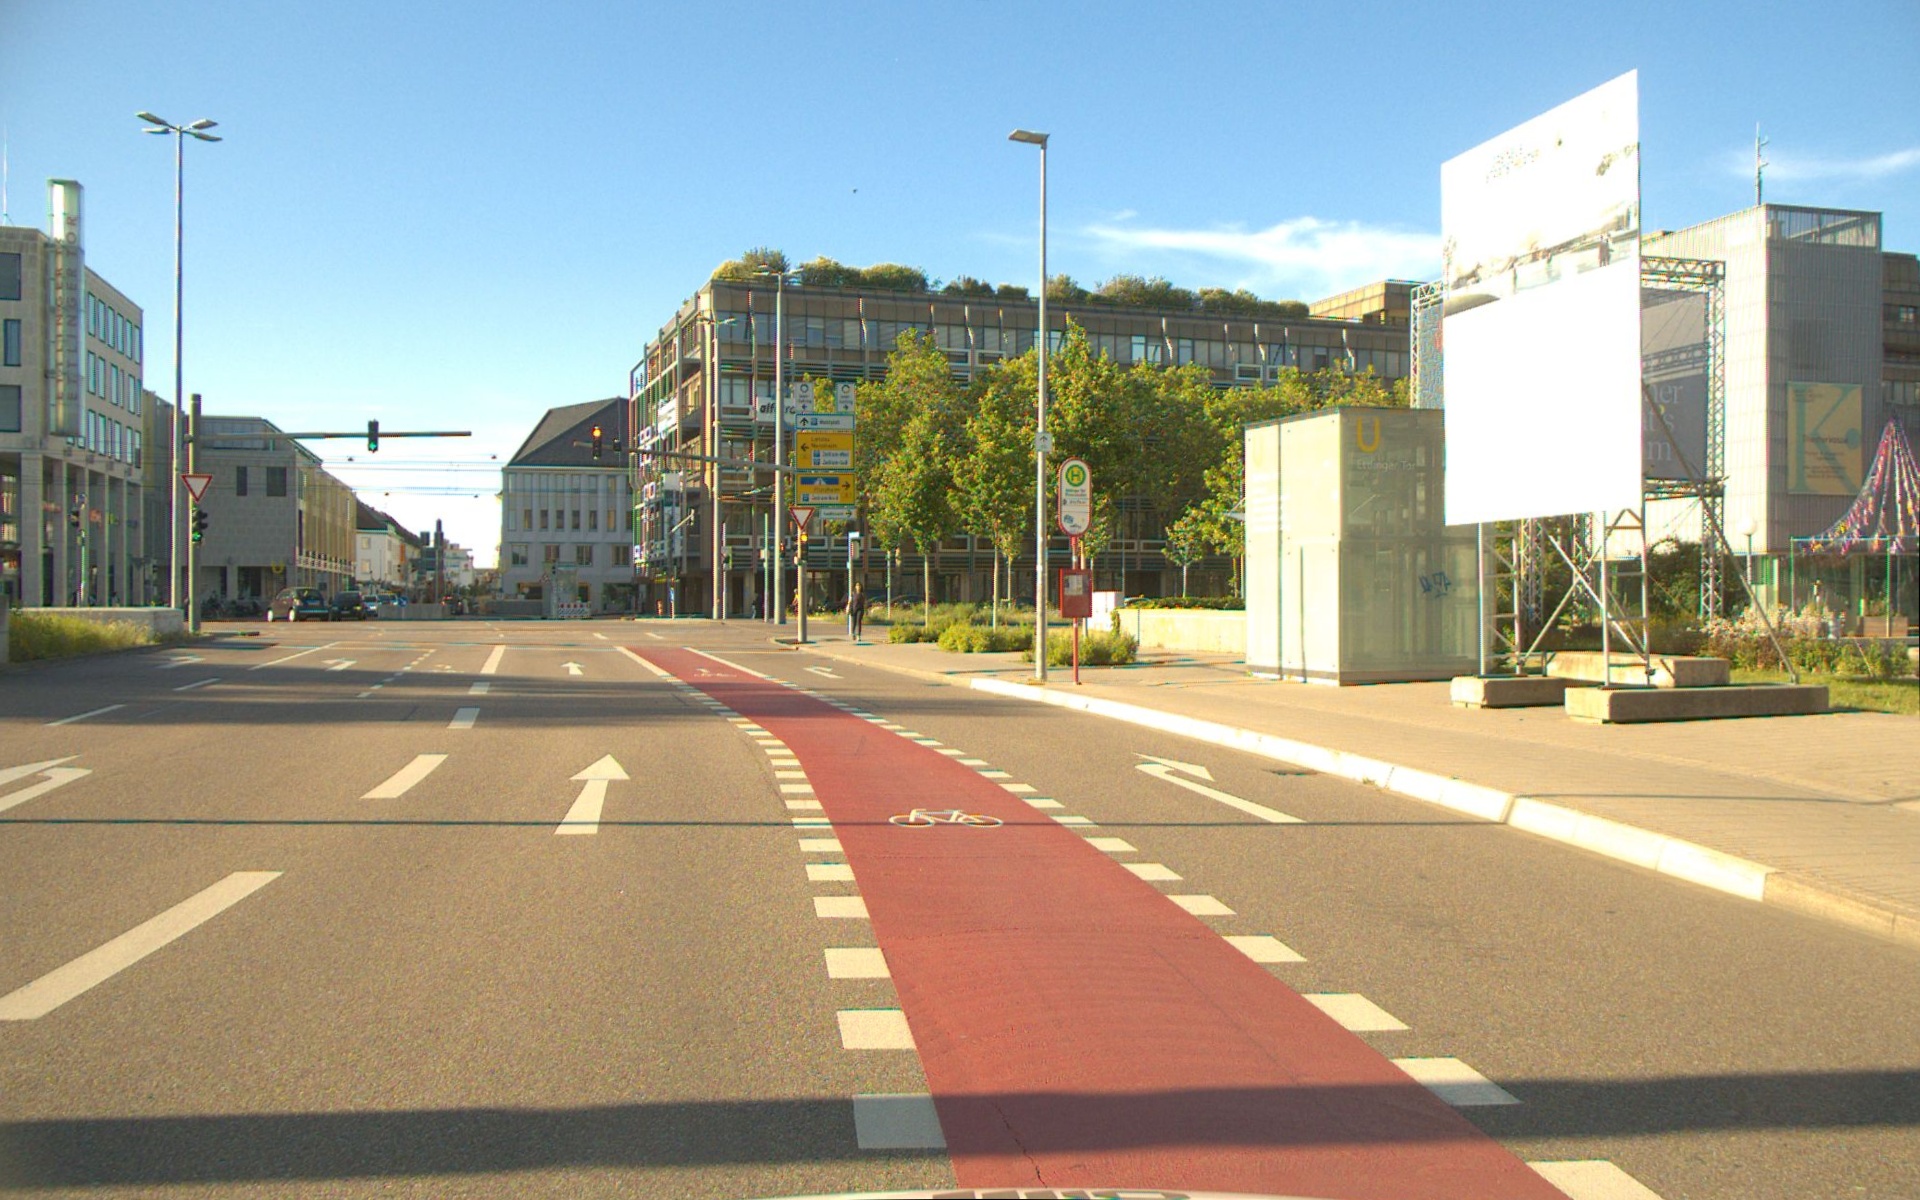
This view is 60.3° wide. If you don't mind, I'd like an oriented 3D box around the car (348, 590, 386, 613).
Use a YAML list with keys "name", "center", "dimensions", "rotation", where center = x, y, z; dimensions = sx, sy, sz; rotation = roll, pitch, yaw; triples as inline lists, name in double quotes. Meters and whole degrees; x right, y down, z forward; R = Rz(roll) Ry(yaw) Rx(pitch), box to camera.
- name: "car"
  center: [-39.980, 0.106, 111.664]
  dimensions: [1.960, 1.380, 4.629]
  rotation: [0, 2, -14]

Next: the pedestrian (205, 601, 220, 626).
- name: "pedestrian"
  center: [-50.097, 0.892, 110.874]
  dimensions: [0.738, 1.636, 0.615]
  rotation: [0, 0, -42]

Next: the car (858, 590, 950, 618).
- name: "car"
  center: [-2.979, 0.197, 87.594]
  dimensions: [4.559, 1.380, 1.990]
  rotation: [0, 2, -18]

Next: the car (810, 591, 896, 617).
- name: "car"
  center: [-6.117, 0.223, 94.636]
  dimensions: [4.559, 1.380, 1.990]
  rotation: [0, 2, -18]

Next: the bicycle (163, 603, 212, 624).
- name: "bicycle"
  center: [-53.538, 0.913, 114.645]
  dimensions: [3.004, 1.425, 0.898]
  rotation: [-1, 0, -19]

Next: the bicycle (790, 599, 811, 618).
- name: "bicycle"
  center: [-8.417, 0.432, 87.153]
  dimensions: [1.058, 0.988, 0.457]
  rotation: [0, 0, -13]

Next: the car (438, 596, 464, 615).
- name: "car"
  center: [-43.466, 0.449, 141.167]
  dimensions: [1.965, 1.579, 3.976]
  rotation: [0, 0, -21]

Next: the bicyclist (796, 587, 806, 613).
- name: "bicyclist"
  center: [-8.368, -0.012, 87.169]
  dimensions: [0.499, 1.361, 0.451]
  rotation: [0, 0, -12]

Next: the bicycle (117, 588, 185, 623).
- name: "bicycle"
  center: [-48.536, 0.347, 99.250]
  dimensions: [3.571, 2.049, 1.079]
  rotation: [-1, 0, -23]

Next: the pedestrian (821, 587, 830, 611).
- name: "pedestrian"
  center: [-8.619, -0.087, 105.972]
  dimensions: [0.611, 1.545, 0.653]
  rotation: [0, 0, -6]

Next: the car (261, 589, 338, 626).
- name: "car"
  center: [-29.396, 0.326, 73.555]
  dimensions: [3.722, 1.591, 1.771]
  rotation: [1, 1, 42]

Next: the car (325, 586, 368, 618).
- name: "car"
  center: [-36.904, 0.097, 99.575]
  dimensions: [1.960, 1.772, 4.628]
  rotation: [0, 2, -15]

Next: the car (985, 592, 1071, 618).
- name: "car"
  center: [3.914, 0.285, 94.903]
  dimensions: [4.559, 1.380, 1.990]
  rotation: [0, 2, -18]

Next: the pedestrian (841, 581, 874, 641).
- name: "pedestrian"
  center: [-3.103, 0.320, 50.193]
  dimensions: [0.804, 1.779, 1.042]
  rotation: [-1, 0, 7]

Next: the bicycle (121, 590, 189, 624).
- name: "bicycle"
  center: [-48.906, 0.425, 100.531]
  dimensions: [3.565, 2.049, 1.081]
  rotation: [-1, 0, -19]

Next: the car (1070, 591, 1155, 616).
- name: "car"
  center: [8.886, 0.202, 96.407]
  dimensions: [4.559, 1.380, 1.990]
  rotation: [0, 2, -18]

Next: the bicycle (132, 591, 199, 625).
- name: "bicycle"
  center: [-48.987, 0.477, 102.014]
  dimensions: [3.565, 2.049, 1.081]
  rotation: [-1, 0, -19]

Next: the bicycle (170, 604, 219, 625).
- name: "bicycle"
  center: [-54.504, 1.004, 117.790]
  dimensions: [3.004, 1.425, 0.898]
  rotation: [-1, 0, -19]
